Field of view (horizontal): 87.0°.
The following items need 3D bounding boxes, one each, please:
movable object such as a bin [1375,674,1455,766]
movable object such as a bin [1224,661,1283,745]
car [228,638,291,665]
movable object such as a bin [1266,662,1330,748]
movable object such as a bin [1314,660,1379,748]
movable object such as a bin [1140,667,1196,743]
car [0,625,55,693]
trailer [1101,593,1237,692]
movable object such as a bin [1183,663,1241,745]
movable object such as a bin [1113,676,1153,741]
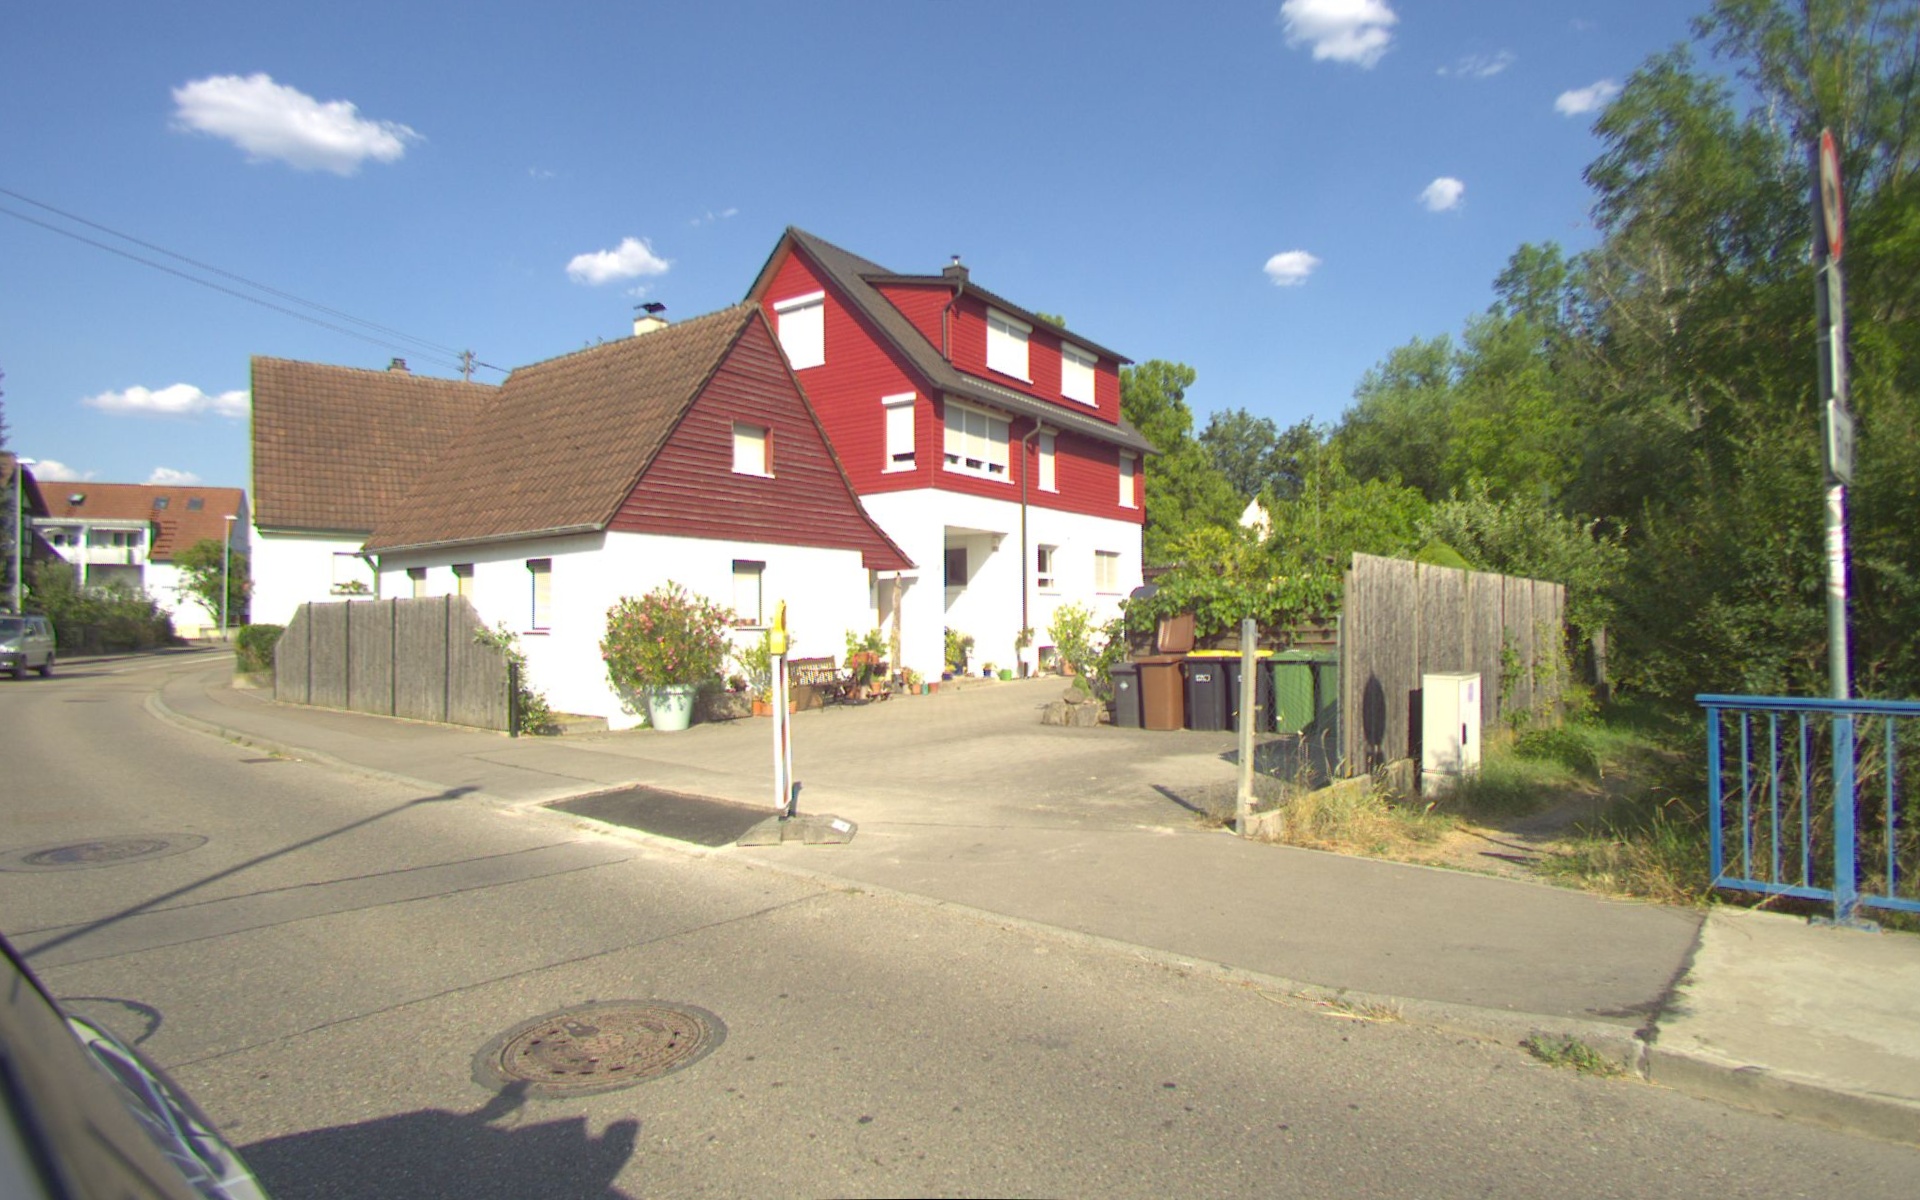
[{"bbox_3d":[4.915,1.274,10.926,0.593,0.925,0.585,-5,-4,42],"label":"movable object such as a bin"},{"bbox_3d":[3.877,1.352,13.378,0.549,1.058,0.542,-4,-4,36],"label":"movable object such as a bin"},{"bbox_3d":[-46.333,3.394,67.066,1.942,1.669,4.009,1,-3,-11],"label":"car"},{"bbox_3d":[4.355,1.336,13.033,0.592,1.058,0.542,-4,-4,36],"label":"movable object such as a bin"},{"bbox_3d":[4.842,1.290,12.667,0.592,1.058,0.542,-4,-4,36],"label":"movable object such as a bin"},{"bbox_3d":[2.874,1.447,13.998,0.549,0.997,0.542,-4,-4,36],"label":"movable object such as a bin"},{"bbox_3d":[-30.083,1.854,31.596,1.790,2.015,4.835,0,-3,-31],"label":"car"},{"bbox_3d":[5.149,0.999,24.583,1.925,2.183,3.955,-2,-2,33],"label":"trailer"},{"bbox_3d":[3.407,1.394,13.687,0.549,1.058,0.542,-4,-4,36],"label":"movable object such as a bin"},{"bbox_3d":[2.449,1.526,14.323,0.370,0.889,0.459,-4,-4,36],"label":"movable object such as a bin"}]
